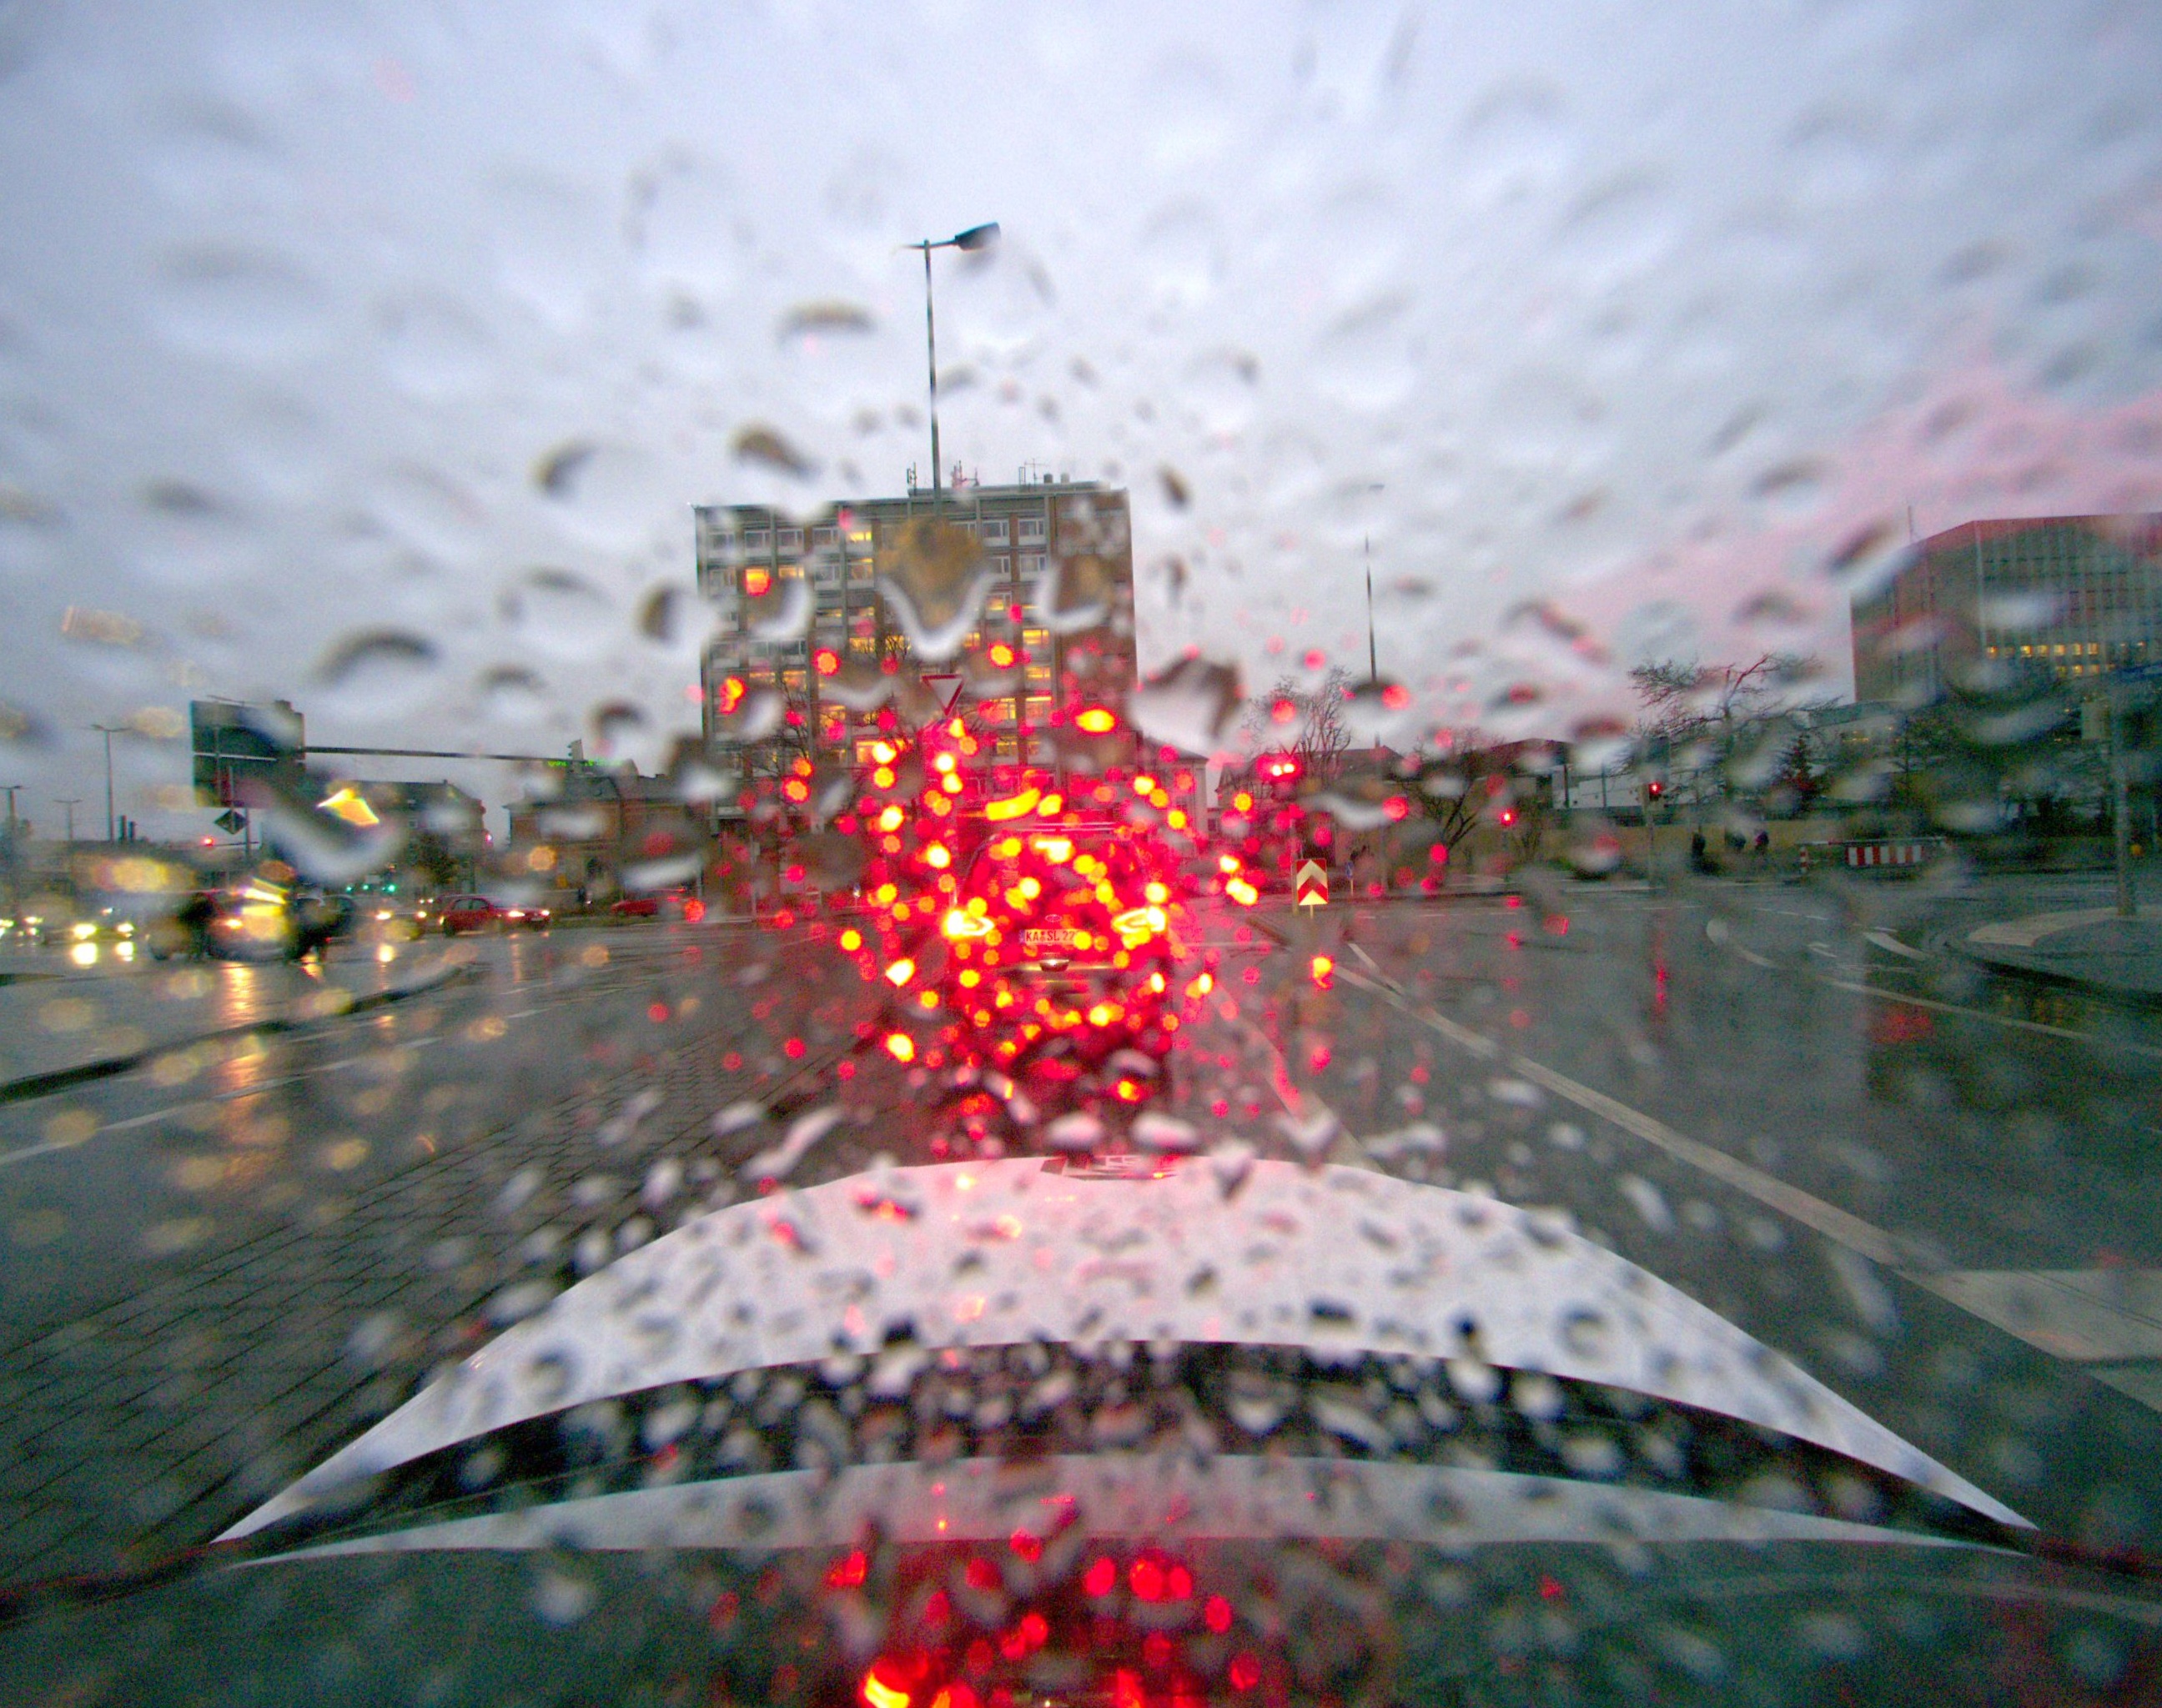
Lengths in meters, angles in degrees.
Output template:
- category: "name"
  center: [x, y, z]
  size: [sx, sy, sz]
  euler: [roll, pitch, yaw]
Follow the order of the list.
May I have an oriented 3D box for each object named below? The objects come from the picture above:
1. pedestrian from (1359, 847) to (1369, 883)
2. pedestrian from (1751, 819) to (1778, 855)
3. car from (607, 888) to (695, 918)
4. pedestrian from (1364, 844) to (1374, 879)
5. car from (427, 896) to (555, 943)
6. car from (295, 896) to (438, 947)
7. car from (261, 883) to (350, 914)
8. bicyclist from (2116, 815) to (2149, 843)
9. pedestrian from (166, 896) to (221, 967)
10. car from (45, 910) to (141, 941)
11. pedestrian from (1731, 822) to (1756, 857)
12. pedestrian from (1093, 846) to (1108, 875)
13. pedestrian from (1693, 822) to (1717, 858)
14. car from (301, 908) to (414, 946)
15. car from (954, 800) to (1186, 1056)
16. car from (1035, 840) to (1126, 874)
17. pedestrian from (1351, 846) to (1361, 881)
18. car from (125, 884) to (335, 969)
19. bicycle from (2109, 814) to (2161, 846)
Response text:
- category: "pedestrian"
  center: [14.531, 0.570, 41.820]
  size: [0.454, 1.839, 0.441]
  euler: [-2, -2, 19]
- category: "pedestrian"
  center: [33.232, -0.812, 39.609]
  size: [0.620, 1.725, 0.762]
  euler: [-1, -2, 8]
- category: "car"
  center: [-21.601, 2.471, 40.959]
  size: [3.762, 1.398, 1.570]
  euler: [-1, -2, 14]
- category: "pedestrian"
  center: [15.166, 0.385, 42.827]
  size: [0.434, 1.839, 0.462]
  euler: [-2, -2, 20]
- category: "car"
  center: [-22.637, 2.496, 31.277]
  size: [4.040, 1.684, 1.766]
  euler: [-1, -2, 14]
- category: "car"
  center: [-25.487, 2.398, 29.104]
  size: [4.037, 1.684, 1.766]
  euler: [-1, -2, 13]
- category: "car"
  center: [-51.737, 2.945, 54.319]
  size: [5.114, 1.913, 2.008]
  euler: [-2, -1, 17]
- category: "bicyclist"
  center: [49.488, -1.179, 38.330]
  size: [0.694, 1.246, 0.609]
  euler: [-1, -2, 10]
- category: "pedestrian"
  center: [-22.212, 1.923, 20.383]
  size: [0.456, 1.697, 0.801]
  euler: [-2, -2, 25]
- category: "car"
  center: [-49.470, 3.573, 40.802]
  size: [3.611, 1.447, 1.610]
  euler: [-1, -2, 14]
- category: "pedestrian"
  center: [33.385, -0.738, 41.019]
  size: [0.620, 1.725, 0.762]
  euler: [-1, -2, 8]
- category: "pedestrian"
  center: [1.130, 0.387, 48.034]
  size: [0.685, 1.661, 0.674]
  euler: [0, -2, -16]
- category: "pedestrian"
  center: [31.261, -0.686, 40.797]
  size: [0.620, 1.725, 0.762]
  euler: [-1, -2, 8]
- category: "car"
  center: [-29.763, 2.990, 33.521]
  size: [3.800, 1.449, 1.610]
  euler: [-1, -2, 14]
- category: "car"
  center: [-0.019, 0.529, 7.859]
  size: [1.641, 1.819, 4.002]
  euler: [-1, 0, 2]
- category: "car"
  center: [0.009, 0.209, 52.194]
  size: [5.516, 2.024, 2.004]
  euler: [-1, -2, 7]
- category: "pedestrian"
  center: [14.403, 0.513, 42.721]
  size: [0.434, 1.839, 0.462]
  euler: [-2, -2, 19]
- category: "car"
  center: [-25.139, 2.089, 24.105]
  size: [4.981, 2.282, 2.268]
  euler: [-2, -2, 18]
- category: "bicycle"
  center: [49.837, -1.122, 38.288]
  size: [1.911, 1.423, 0.594]
  euler: [-1, -2, 10]
